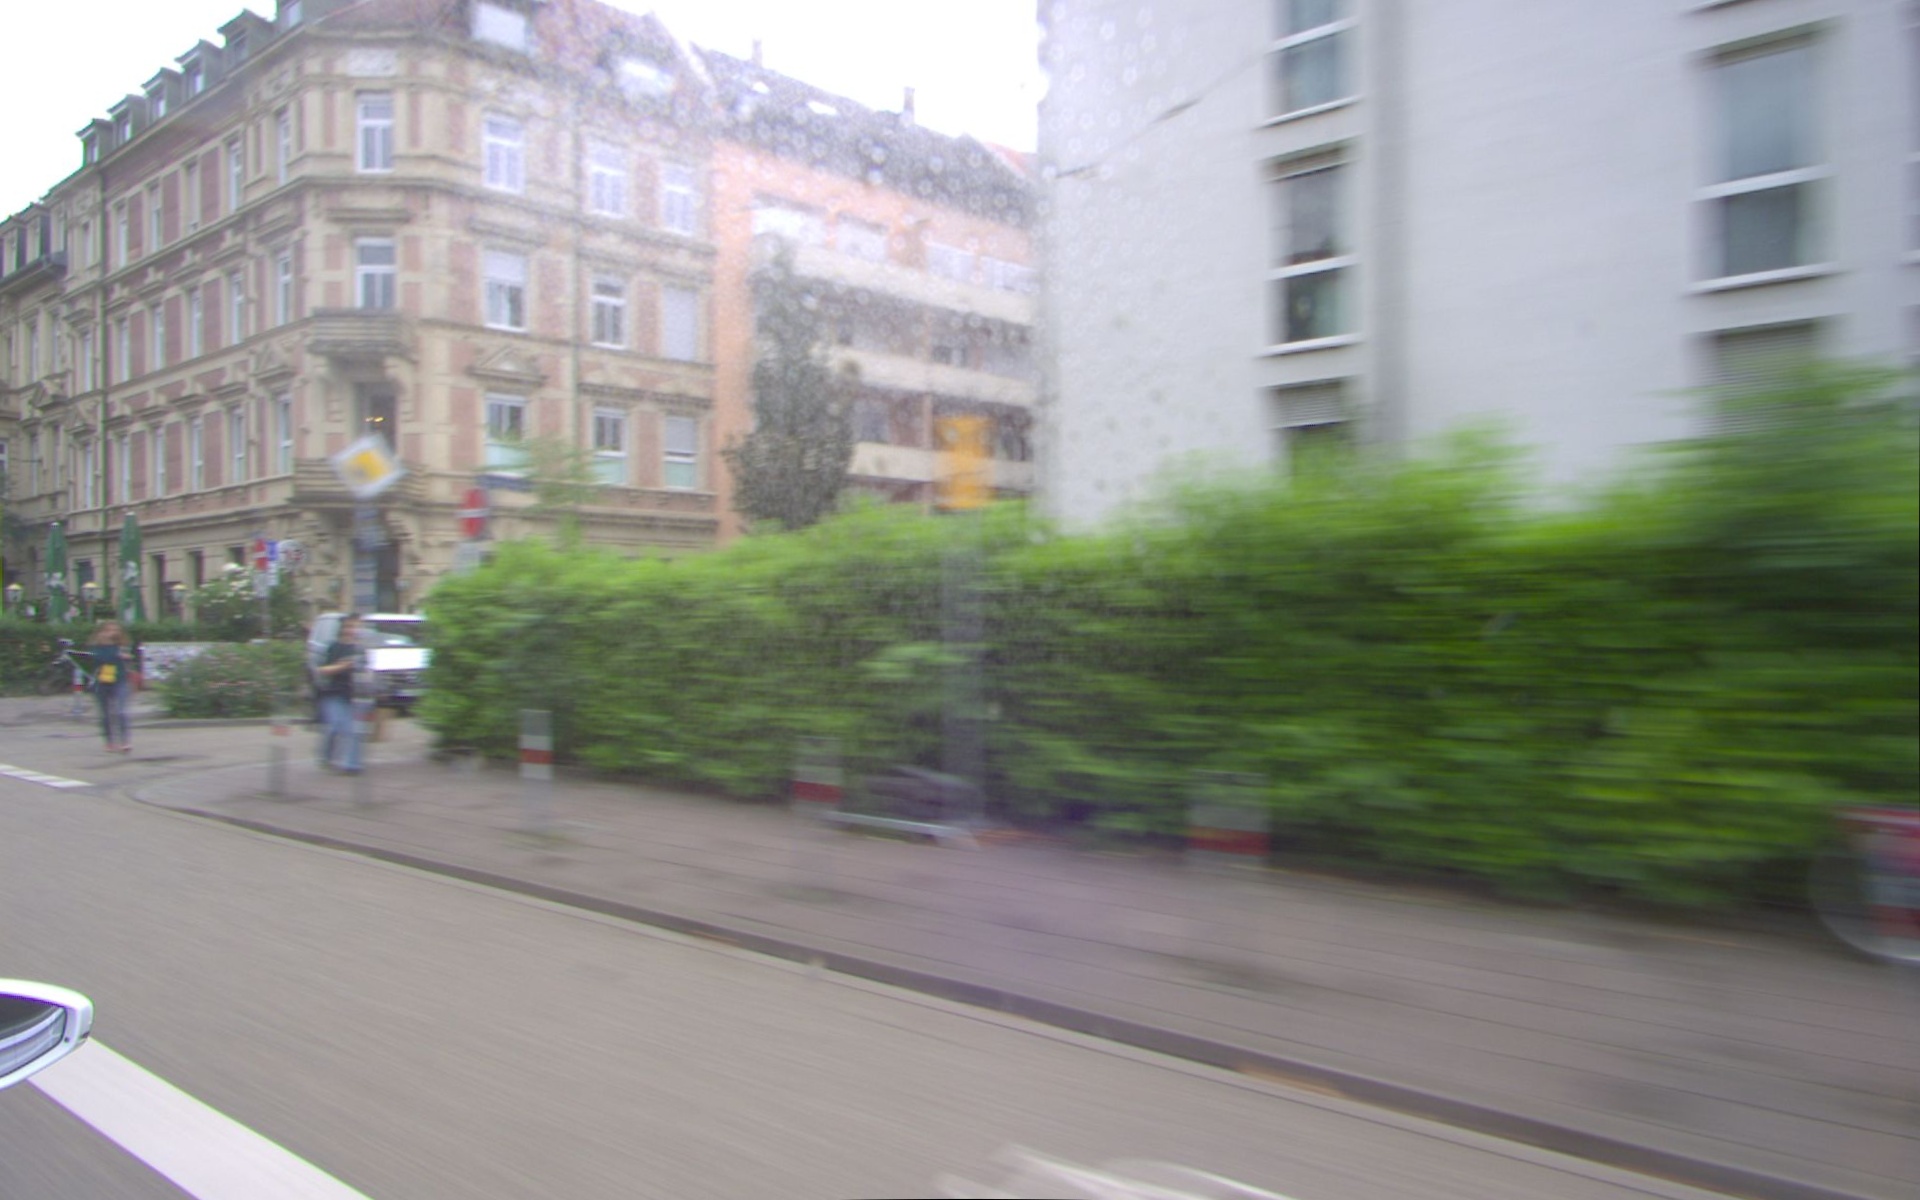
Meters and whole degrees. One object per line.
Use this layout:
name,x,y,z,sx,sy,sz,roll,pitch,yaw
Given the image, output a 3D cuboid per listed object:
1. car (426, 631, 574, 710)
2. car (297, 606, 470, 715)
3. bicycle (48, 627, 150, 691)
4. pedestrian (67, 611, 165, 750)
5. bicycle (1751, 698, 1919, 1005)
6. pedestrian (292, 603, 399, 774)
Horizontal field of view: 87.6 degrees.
car,-9.884,1.426,21.361,1.684,1.384,3.960,1,0,-44
car,-11.677,1.119,20.109,2.038,1.902,4.983,1,-2,-42
bicycle,-18.142,1.214,21.114,0.507,1.294,1.595,0,-1,43
pedestrian,-10.706,0.988,12.702,0.899,1.677,0.867,0,-1,45
bicycle,4.371,1.045,4.026,1.786,1.143,0.631,0,2,32
pedestrian,-6.354,0.891,10.349,0.787,1.657,0.829,-1,-2,-41
